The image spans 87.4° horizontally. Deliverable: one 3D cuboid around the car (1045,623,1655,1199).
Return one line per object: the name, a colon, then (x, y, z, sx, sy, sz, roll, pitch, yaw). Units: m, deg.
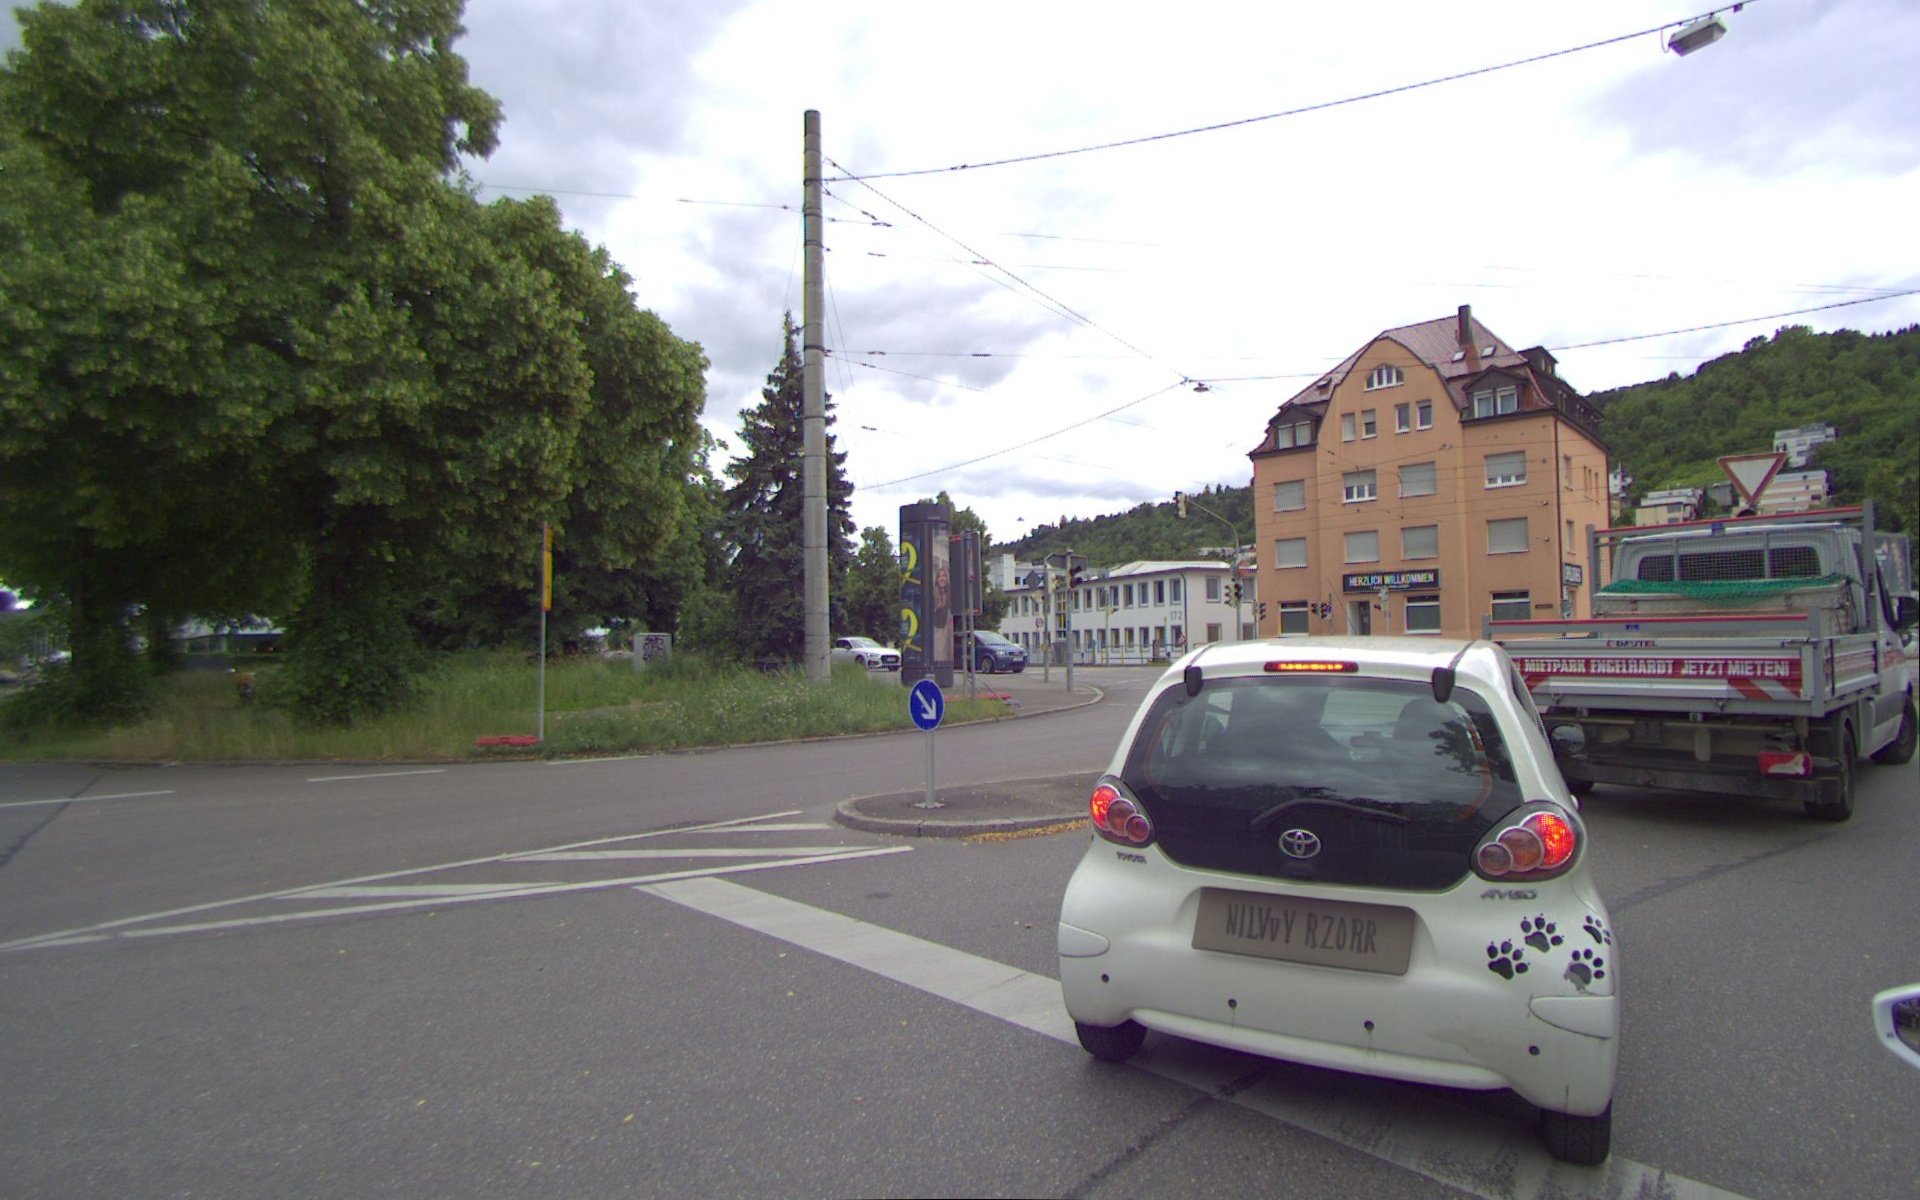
car: (1.786, 0.847, 4.282, 1.570, 1.439, 3.368, 2, 0, 29)

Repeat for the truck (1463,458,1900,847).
truck: (6.827, 0.356, 9.154, 5.617, 2.453, 2.291, -1, -2, -45)

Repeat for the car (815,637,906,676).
car: (-4.109, 2.311, 41.120, 1.734, 1.445, 4.120, 0, -2, -39)

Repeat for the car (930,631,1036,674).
car: (0.776, 1.850, 35.678, 1.736, 1.410, 3.659, 0, -3, -41)
